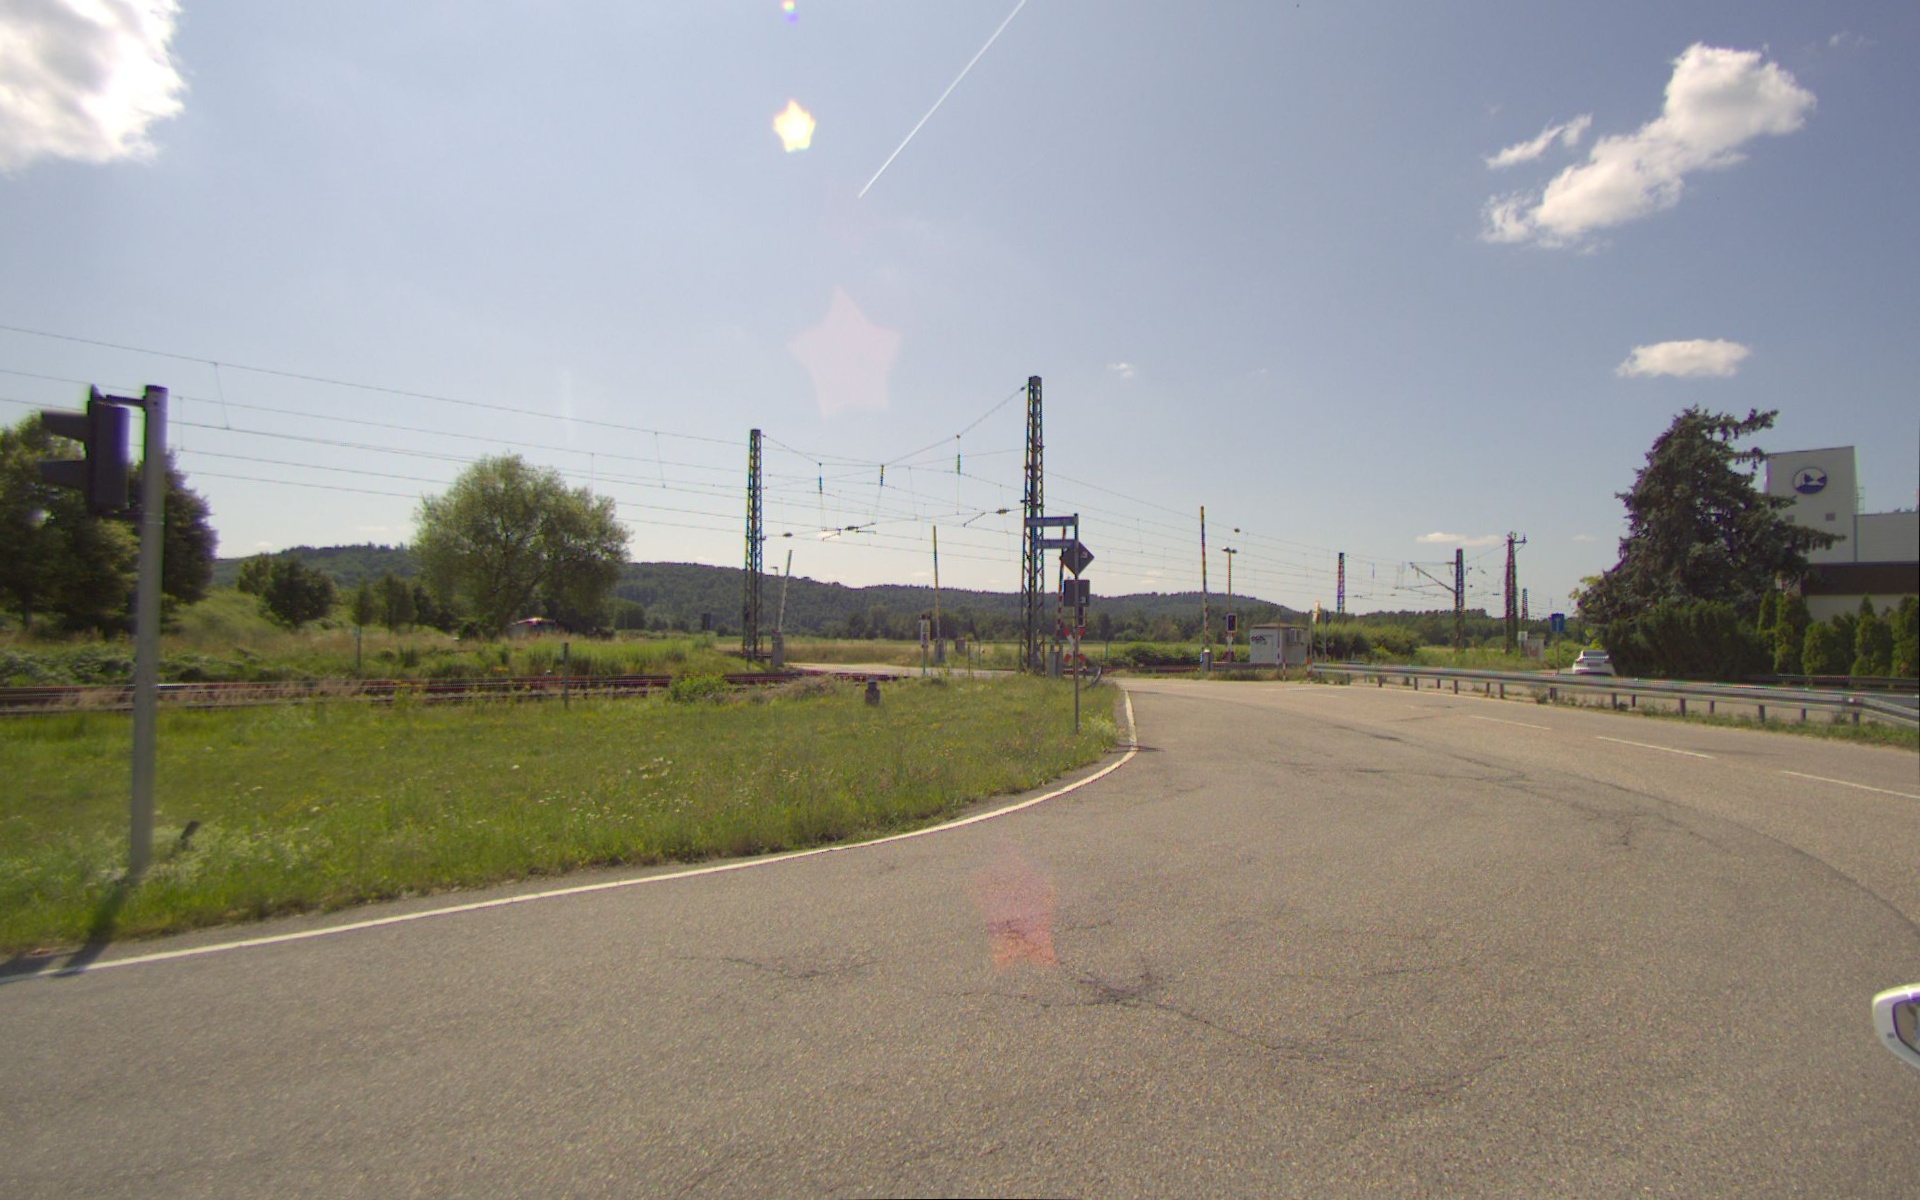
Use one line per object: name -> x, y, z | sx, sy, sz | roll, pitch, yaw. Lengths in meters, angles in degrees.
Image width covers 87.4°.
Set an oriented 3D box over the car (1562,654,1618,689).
car -> 30.808, 3.459, 49.050 | 1.968, 1.529, 4.438 | -1, -2, 37
